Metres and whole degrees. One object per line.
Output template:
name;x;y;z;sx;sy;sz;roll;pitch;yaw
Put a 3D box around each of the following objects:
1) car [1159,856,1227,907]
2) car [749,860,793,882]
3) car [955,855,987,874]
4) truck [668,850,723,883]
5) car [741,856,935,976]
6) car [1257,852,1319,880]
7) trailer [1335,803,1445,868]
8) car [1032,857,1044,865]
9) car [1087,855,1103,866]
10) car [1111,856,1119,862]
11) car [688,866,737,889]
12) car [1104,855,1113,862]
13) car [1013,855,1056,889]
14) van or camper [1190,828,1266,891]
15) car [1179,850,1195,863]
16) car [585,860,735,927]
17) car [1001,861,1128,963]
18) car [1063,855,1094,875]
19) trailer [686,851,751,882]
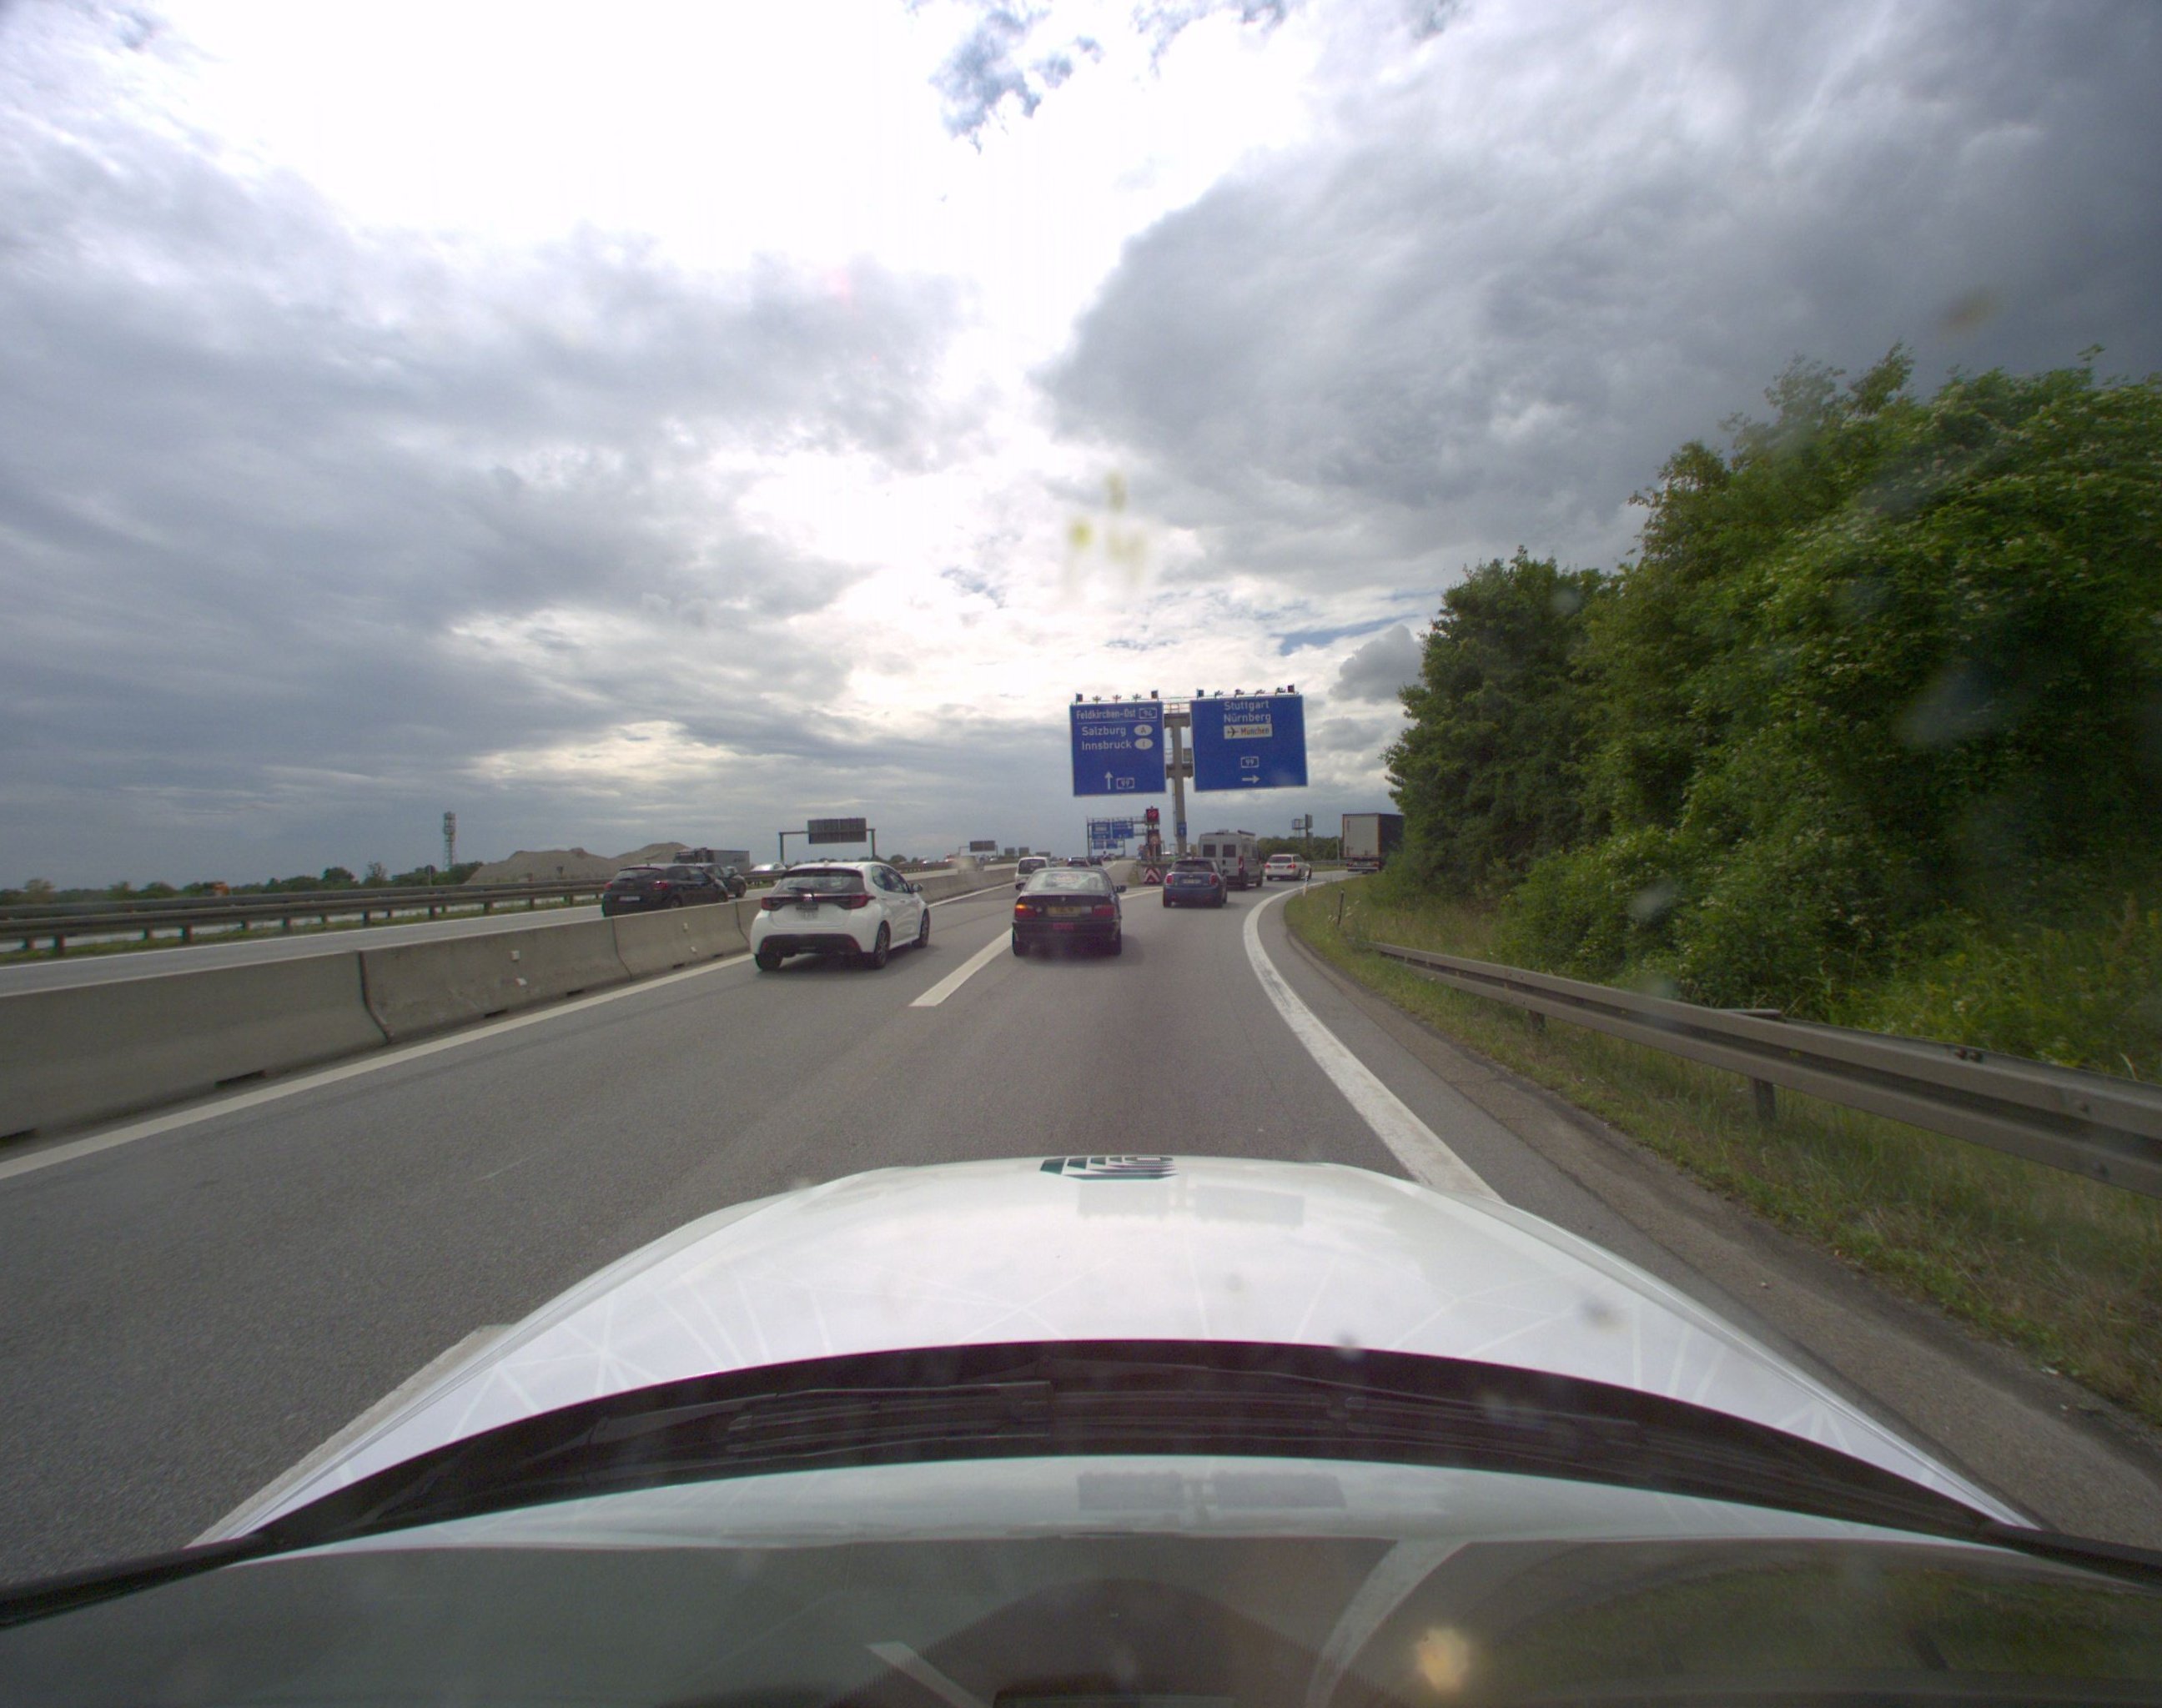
car;3.486;0.785;24.776;1.717;1.419;3.678;-1;0;13
car;-22.727;1.223;59.880;1.682;1.469;4.003;-1;0;0
car;-10.025;0.936;74.626;1.986;1.683;4.869;-1;0;2
truck;-39.974;1.251;84.717;3.142;3.330;5.617;-1;0;-3
car;-3.504;0.813;12.500;1.695;1.508;3.842;-1;0;2
car;11.981;0.661;46.930;2.185;1.501;4.817;-2;0;31
trailer;22.619;-1.223;58.937;3.298;4.193;13.114;-1;0;40
car;-8.599;1.344;163.675;1.985;1.468;4.004;-1;0;4
car;1.857;0.825;107.140;1.858;1.424;4.003;-1;0;3
car;8.321;1.210;198.795;1.795;1.424;4.004;-1;0;4
car;-26.515;1.642;58.804;1.682;1.469;4.003;-2;0;0
car;5.982;0.910;176.331;1.795;1.424;4.004;-1;0;4
car;-2.138;0.822;38.140;1.579;1.484;3.537;-1;0;3
van or camper;6.770;0.206;36.868;2.274;2.568;6.192;-2;0;20
car;16.946;0.429;130.353;1.987;2.013;4.000;-1;0;1
car;-10.933;0.949;21.501;1.767;1.530;4.001;-2;0;1
car;-0.137;0.835;13.629;1.775;1.378;4.140;-1;0;3
car;-0.169;0.838;64.063;1.984;1.468;4.006;-1;0;5
trailer;-40.226;1.303;90.778;3.190;3.269;9.815;-1;0;-2
